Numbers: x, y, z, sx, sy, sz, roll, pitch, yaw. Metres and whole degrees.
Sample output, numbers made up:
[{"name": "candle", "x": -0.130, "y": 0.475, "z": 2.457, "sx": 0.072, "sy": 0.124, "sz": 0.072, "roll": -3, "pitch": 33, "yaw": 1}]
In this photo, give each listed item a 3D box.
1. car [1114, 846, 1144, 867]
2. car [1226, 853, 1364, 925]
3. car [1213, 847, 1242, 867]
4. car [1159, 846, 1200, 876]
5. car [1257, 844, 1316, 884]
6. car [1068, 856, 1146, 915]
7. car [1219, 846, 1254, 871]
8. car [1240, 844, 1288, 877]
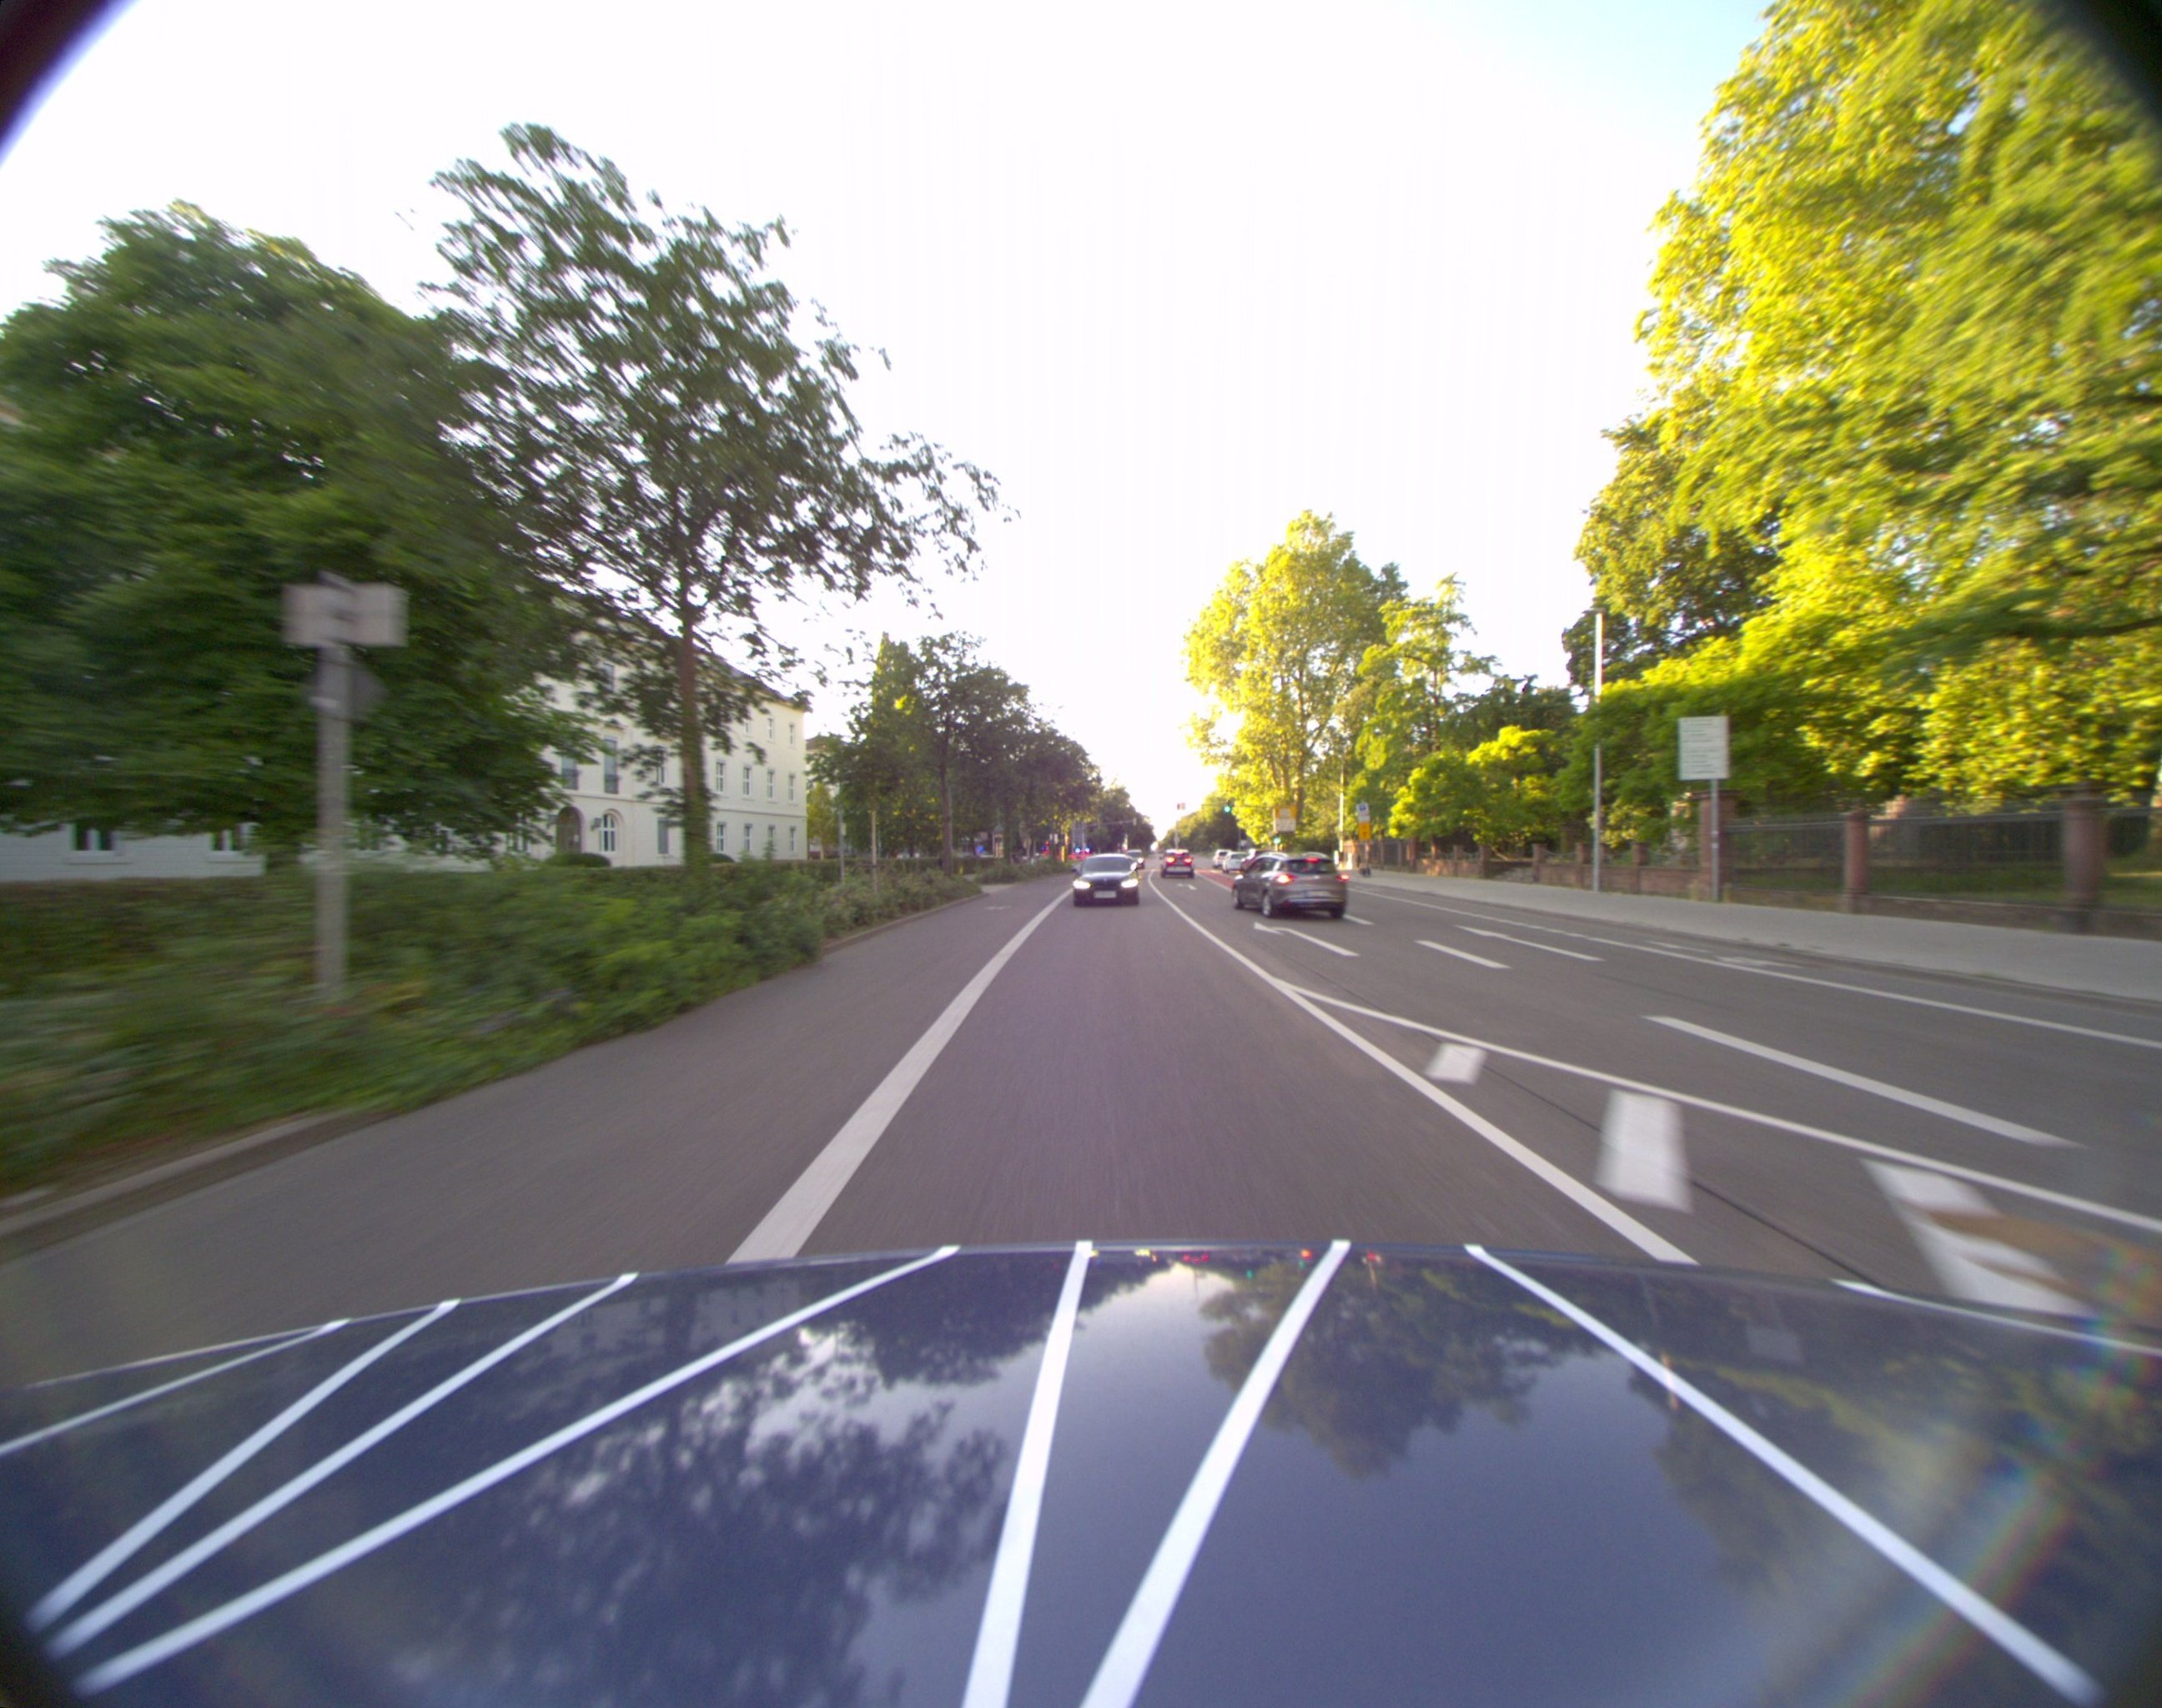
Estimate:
[{"name": "car", "x": 4.095, "y": 0.186, "z": 65.822, "sx": 1.839, "sy": 1.674, "sz": 4.220, "roll": -3, "pitch": 1, "yaw": -6}, {"name": "car", "x": 4.833, "y": 0.732, "z": 17.772, "sx": 1.777, "sy": 1.455, "sz": 3.997, "roll": 1, "pitch": 1, "yaw": -5}, {"name": "car", "x": 12.742, "y": 0.206, "z": 66.314, "sx": 1.998, "sy": 1.674, "sz": 4.001, "roll": -1, "pitch": 1, "yaw": 5}, {"name": "car", "x": 5.570, "y": 0.374, "z": 43.419, "sx": 1.903, "sy": 1.611, "sz": 3.895, "roll": -1, "pitch": 1, "yaw": 1}, {"name": "car", "x": 9.303, "y": 0.417, "z": 34.710, "sx": 1.920, "sy": 1.674, "sz": 4.001, "roll": -1, "pitch": 1, "yaw": 5}, {"name": "car", "x": 0.669, "y": 0.810, "z": 21.881, "sx": 1.964, "sy": 1.379, "sz": 4.780, "roll": -1, "pitch": 1, "yaw": 0}, {"name": "car", "x": 11.004, "y": 0.295, "z": 54.006, "sx": 1.998, "sy": 1.674, "sz": 4.001, "roll": -1, "pitch": 1, "yaw": 5}, {"name": "car", "x": 10.023, "y": 0.320, "z": 41.933, "sx": 1.998, "sy": 1.674, "sz": 4.001, "roll": -1, "pitch": 1, "yaw": 5}]
